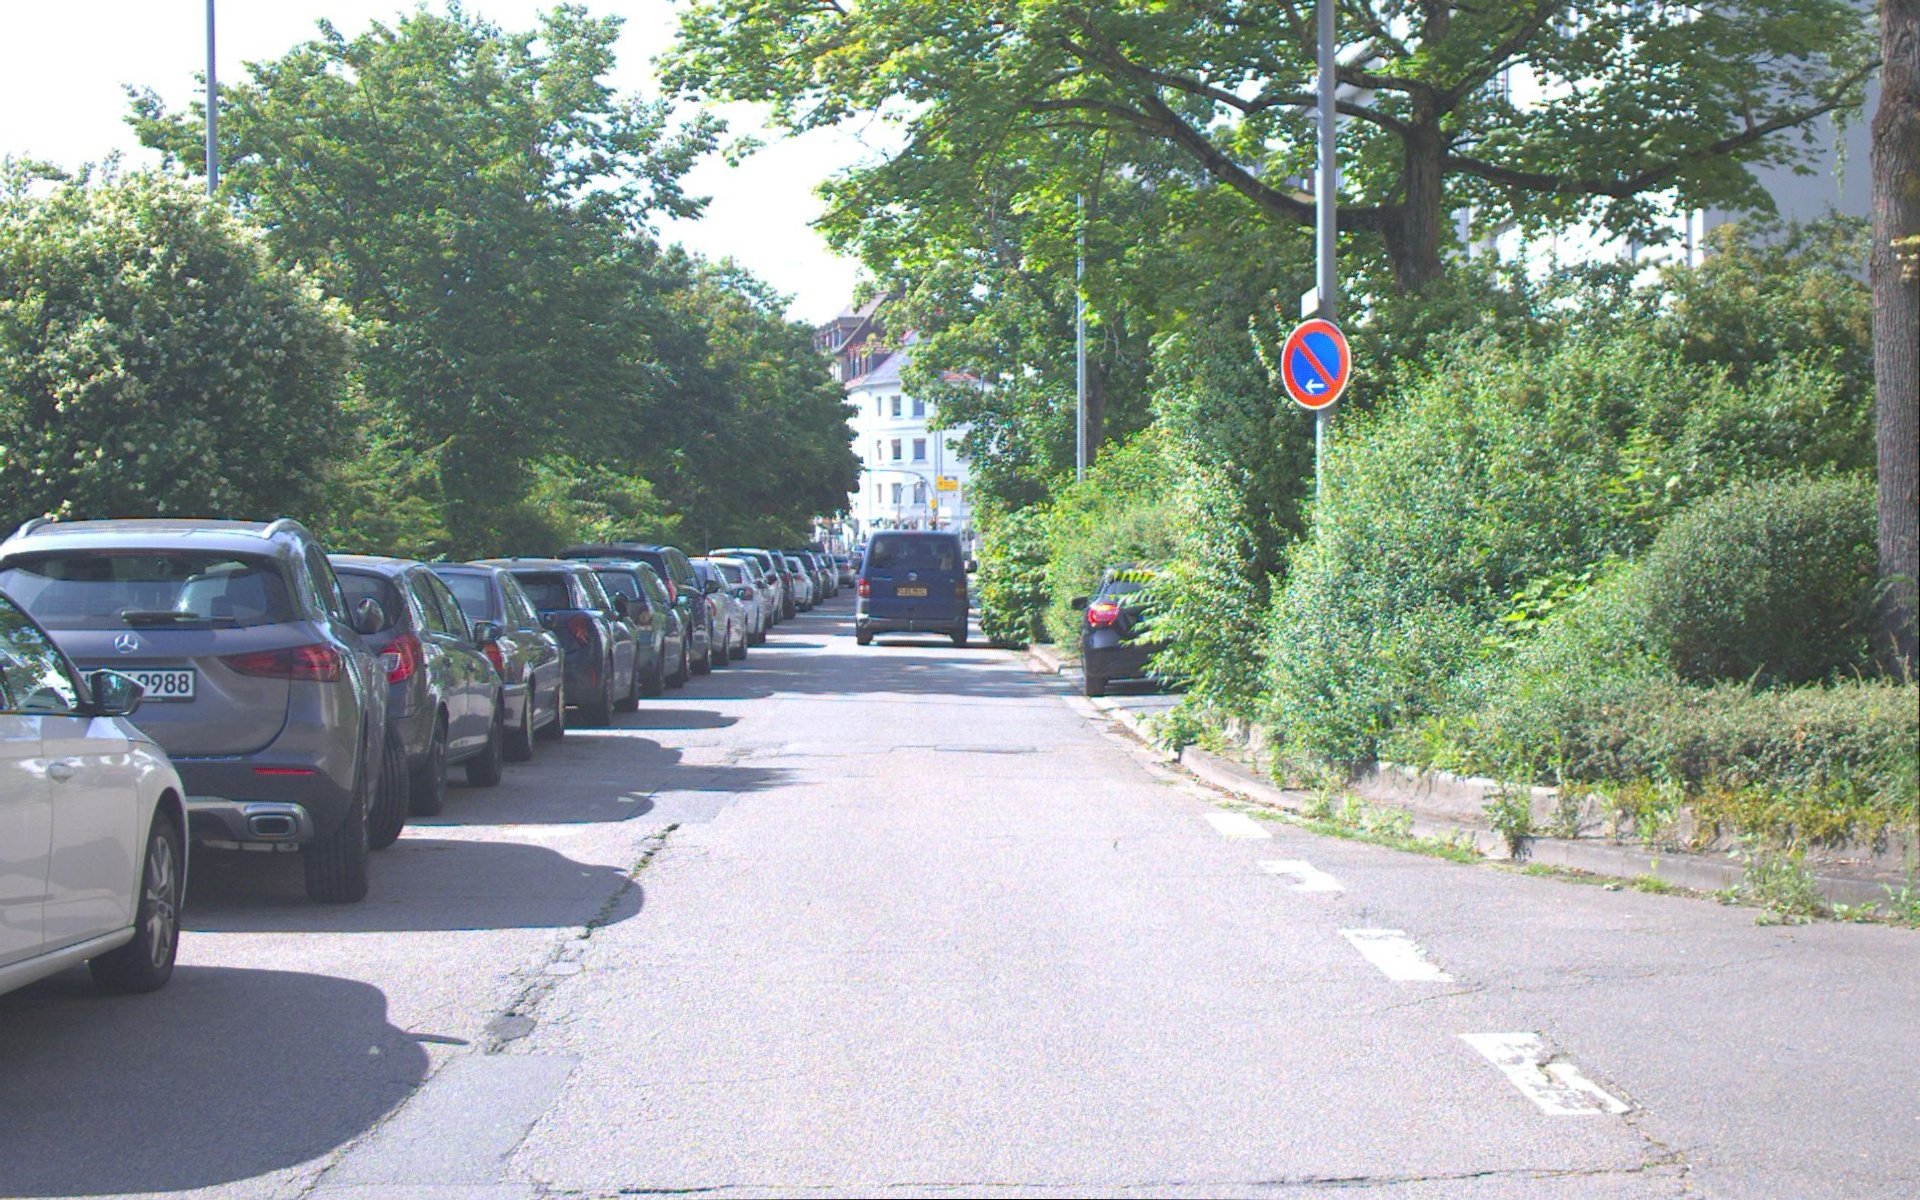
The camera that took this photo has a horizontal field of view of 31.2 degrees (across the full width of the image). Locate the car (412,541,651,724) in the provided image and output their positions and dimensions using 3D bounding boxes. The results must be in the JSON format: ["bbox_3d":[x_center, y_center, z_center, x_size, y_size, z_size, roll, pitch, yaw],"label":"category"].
[{"bbox_3d":[-3.807,0.244,31.075,1.664,1.468,3.790,2,1,0],"label":"car"}]

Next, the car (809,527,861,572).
[{"bbox_3d":[-4.264,-1.748,117.749,1.664,1.504,4.008,0,1,0],"label":"car"}]

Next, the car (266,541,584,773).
[{"bbox_3d":[-3.929,0.354,25.924,1.664,1.506,4.594,2,1,0],"label":"car"}]

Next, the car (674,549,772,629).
[{"bbox_3d":[-4.657,-0.247,67.944,1.664,1.504,4.201,0,1,0],"label":"car"}]

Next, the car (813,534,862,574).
[{"bbox_3d":[-5.072,-1.924,143.266,1.993,1.651,4.000,0,1,-1],"label":"car"}]

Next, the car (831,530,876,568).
[{"bbox_3d":[-4.734,-2.261,153.066,1.993,1.651,4.000,0,1,-1],"label":"car"}]

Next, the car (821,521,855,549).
[{"bbox_3d":[-7.376,-3.948,207.912,1.993,1.651,4.000,0,1,-1],"label":"car"}]

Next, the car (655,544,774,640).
[{"bbox_3d":[-4.061,-0.163,57.332,1.664,1.463,4.201,2,1,0],"label":"car"}]

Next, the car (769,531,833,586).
[{"bbox_3d":[-4.655,-1.238,101.023,1.664,1.504,4.009,2,1,0],"label":"car"}]

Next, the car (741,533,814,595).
[{"bbox_3d":[-4.765,-0.955,90.088,1.664,1.504,4.009,2,1,0],"label":"car"}]

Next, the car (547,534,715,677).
[{"bbox_3d":[-3.938,0.029,41.671,1.664,1.578,3.932,-1,2,0],"label":"car"}]

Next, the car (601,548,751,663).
[{"bbox_3d":[-3.826,0.040,46.861,1.664,1.402,4.320,2,1,0],"label":"car"}]

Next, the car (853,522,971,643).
[{"bbox_3d":[-0.806,-0.333,58.527,1.883,1.915,4.009,2,1,0],"label":"car"}]

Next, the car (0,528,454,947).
[{"bbox_3d":[-3.391,0.491,15.385,1.771,1.574,4.187,-1,2,-2],"label":"car"}]

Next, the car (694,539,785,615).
[{"bbox_3d":[-4.675,-0.518,73.433,1.664,1.504,4.009,2,1,0],"label":"car"}]

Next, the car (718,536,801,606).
[{"bbox_3d":[-4.578,-0.687,78.944,1.664,1.504,4.009,2,1,0],"label":"car"}]

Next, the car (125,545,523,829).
[{"bbox_3d":[-3.716,0.443,20.687,1.664,1.469,3.877,1,1,0],"label":"car"}]

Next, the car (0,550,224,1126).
[{"bbox_3d":[-3.433,0.628,9.914,1.721,1.500,4.132,2,1,0],"label":"car"}]

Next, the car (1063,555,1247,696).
[{"bbox_3d":[2.112,0.240,38.223,1.726,1.415,4.000,-2,1,-1],"label":"car"}]

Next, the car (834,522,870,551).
[{"bbox_3d":[-6.147,-3.607,195.901,1.993,1.651,4.000,0,1,-1],"label":"car"}]

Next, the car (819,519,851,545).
[{"bbox_3d":[-8.017,-4.351,220.963,1.993,1.651,3.741,0,1,-1],"label":"car"}]

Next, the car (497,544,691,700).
[{"bbox_3d":[-3.887,0.193,37.015,1.664,1.506,3.790,2,1,0],"label":"car"}]
